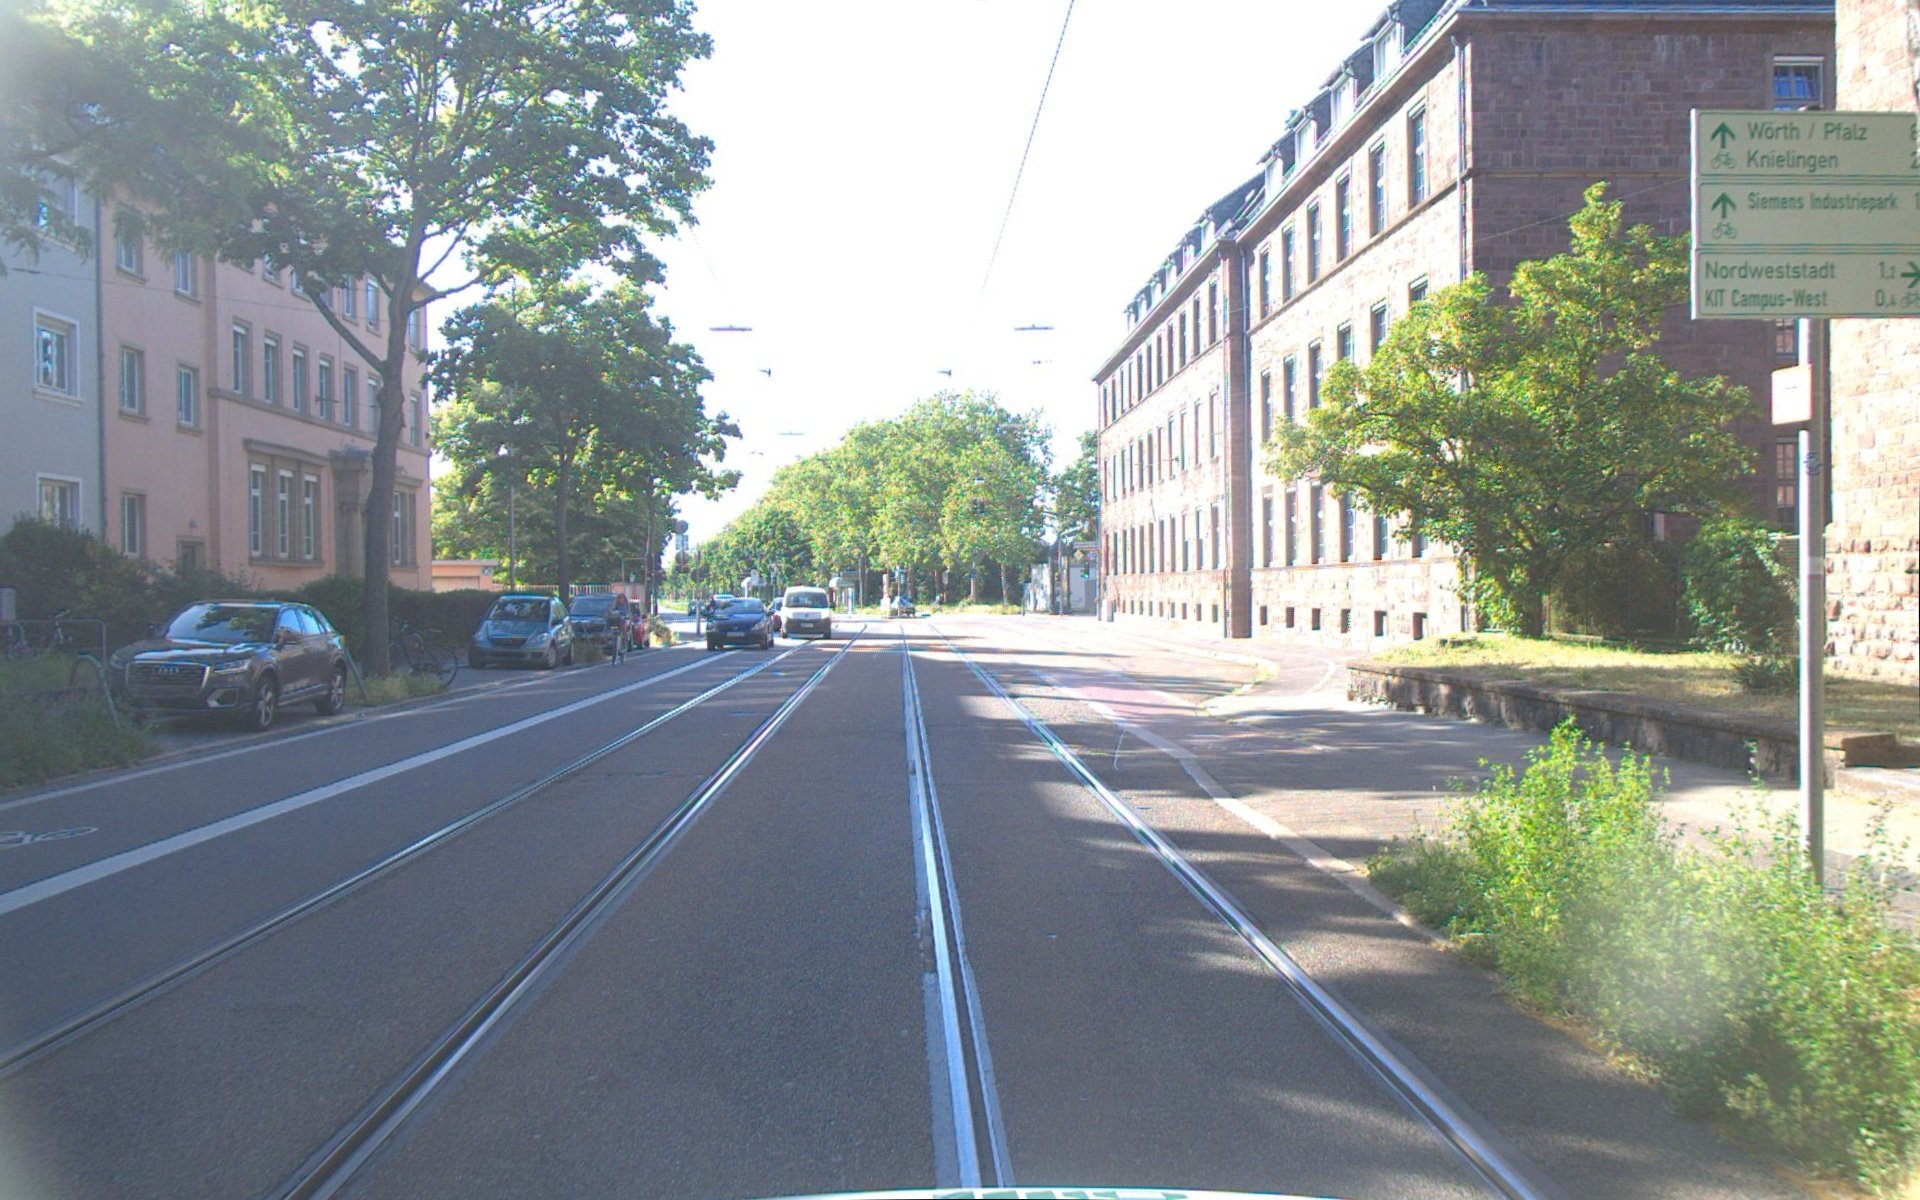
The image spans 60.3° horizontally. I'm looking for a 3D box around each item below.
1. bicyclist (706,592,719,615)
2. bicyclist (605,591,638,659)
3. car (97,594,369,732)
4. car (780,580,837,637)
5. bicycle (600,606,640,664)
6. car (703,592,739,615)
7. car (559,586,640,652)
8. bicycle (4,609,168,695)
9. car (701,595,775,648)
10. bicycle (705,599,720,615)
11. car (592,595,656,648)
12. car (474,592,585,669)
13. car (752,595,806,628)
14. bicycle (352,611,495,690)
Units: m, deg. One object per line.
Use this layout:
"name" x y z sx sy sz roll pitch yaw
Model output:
"bicyclist" -16.680 0.228 111.425 0.737 1.530 0.960 0 0 -17
"bicyclist" -7.682 0.555 37.552 0.547 1.482 0.868 -4 0 -5
"car" -9.078 0.719 21.065 1.711 1.516 4.321 2 0 -3
"car" -5.368 0.286 59.205 1.773 1.921 4.438 -1 0 -2
"bicycle" -7.666 0.769 37.398 0.547 1.219 2.290 -4 1 -5
"car" -16.642 0.220 114.981 1.961 1.531 3.983 -1 0 -15
"car" -9.964 0.492 46.013 1.712 1.689 4.385 2 0 -7
"bicycle" -13.372 0.788 25.329 2.236 1.219 0.560 2 1 4
"car" -6.323 0.586 47.513 1.774 1.411 4.437 -1 0 -4
"bicycle" -16.686 0.458 111.447 0.737 1.106 2.166 0 0 -17
"car" -10.273 0.630 50.737 1.551 1.514 3.608 2 0 -7
"car" -9.743 0.642 37.698 1.711 1.597 4.065 2 0 -5
"car" -8.016 0.483 72.950 1.887 1.411 4.672 -1 0 -12
"bicycle" -9.053 0.846 27.936 2.236 1.219 0.560 2 1 4
